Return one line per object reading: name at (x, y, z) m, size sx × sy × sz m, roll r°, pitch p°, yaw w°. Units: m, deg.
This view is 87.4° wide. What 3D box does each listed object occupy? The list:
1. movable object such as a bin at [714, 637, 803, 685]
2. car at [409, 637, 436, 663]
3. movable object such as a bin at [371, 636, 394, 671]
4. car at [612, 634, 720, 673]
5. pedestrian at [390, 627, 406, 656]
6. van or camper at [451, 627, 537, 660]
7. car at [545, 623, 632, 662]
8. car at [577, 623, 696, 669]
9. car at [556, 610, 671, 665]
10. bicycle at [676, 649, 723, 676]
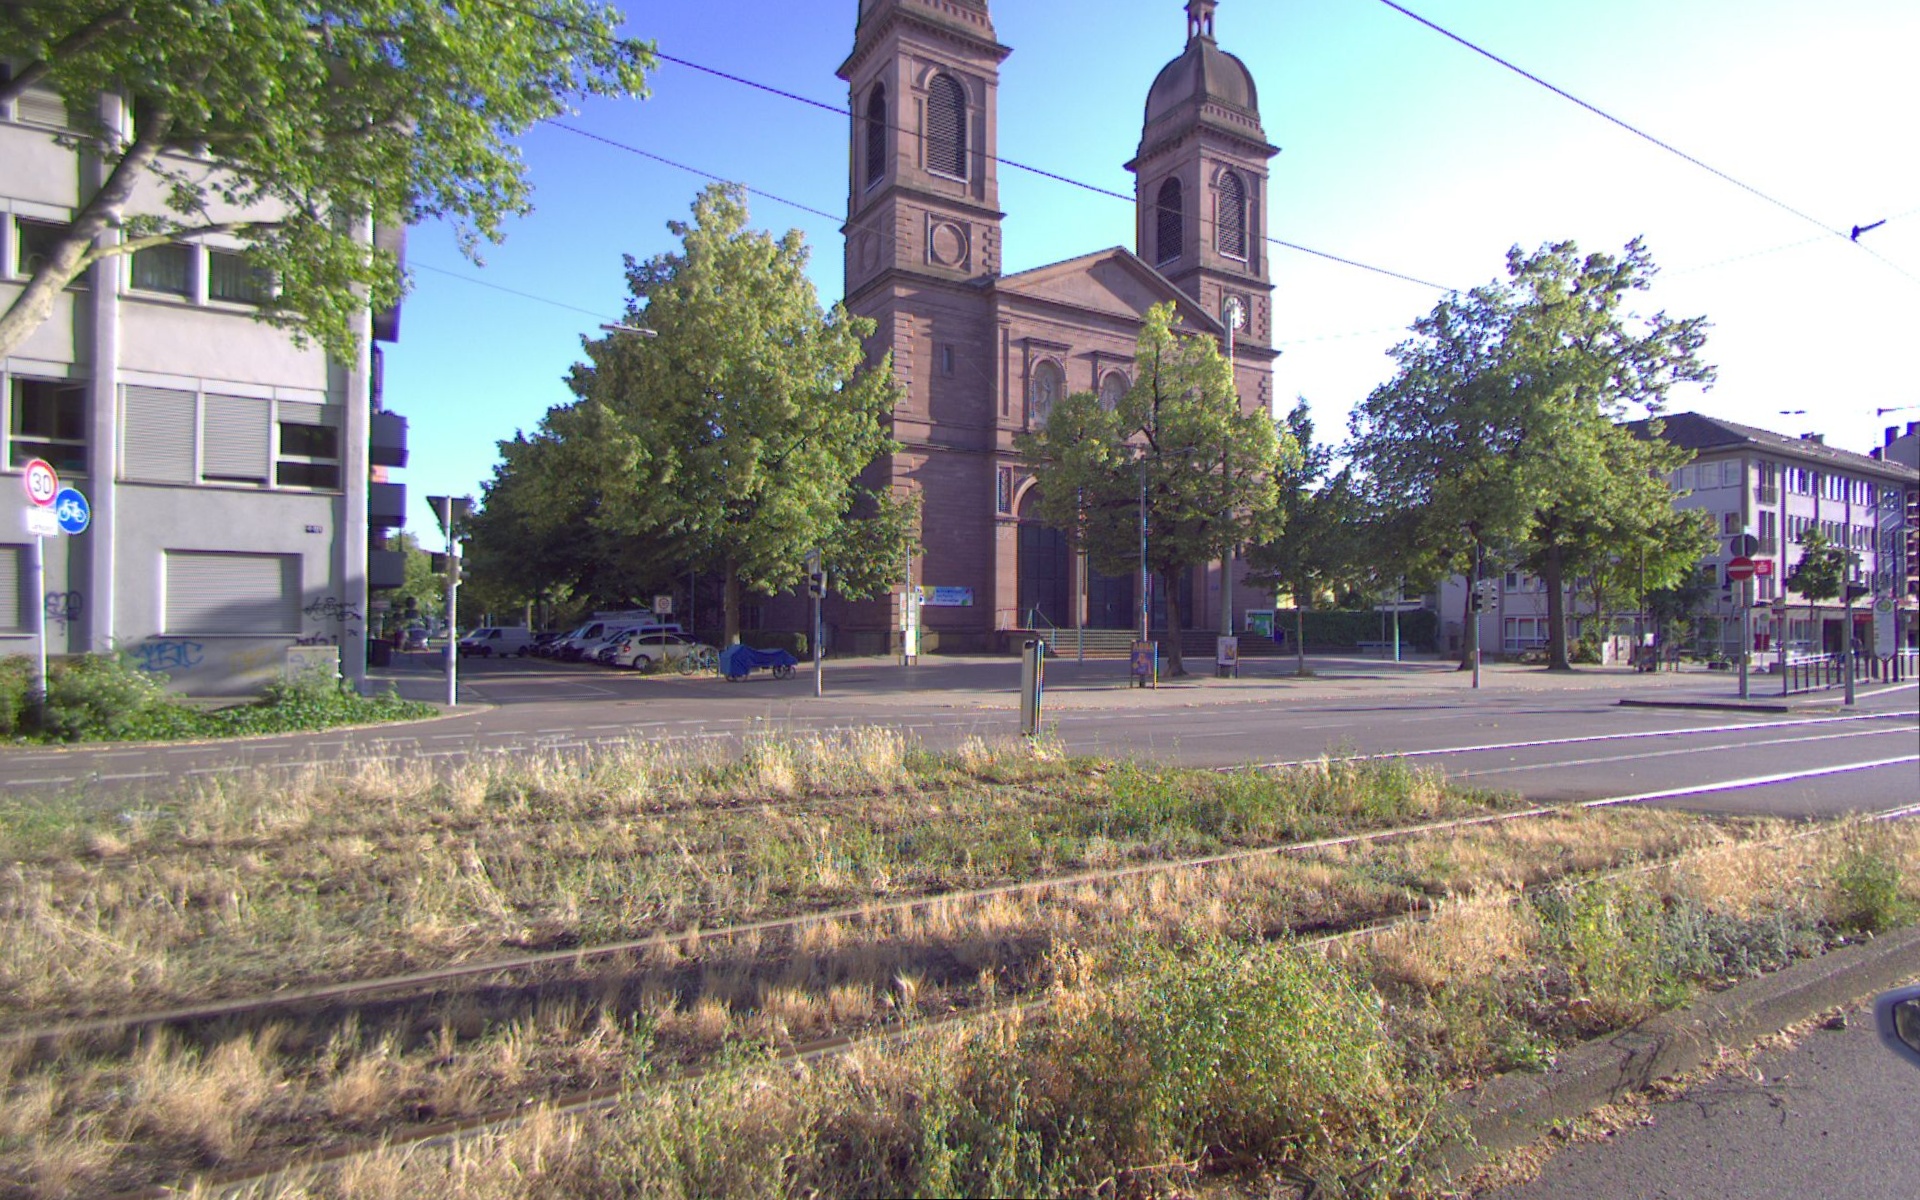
movable object such as a bin at (-6.160, 1.850, 30.716) m, size 2.416 × 1.228 × 1.102 m, roll -3°, pitch 2°, yaw -30°
car at (-45.778, 4.228, 85.473) m, size 1.976 × 2.040 × 3.970 m, roll 1°, pitch -2°, yaw -29°
movable object such as a bin at (-22.309, 2.046, 38.810) m, size 0.737 × 1.323 × 0.865 m, roll 1°, pitch -2°, yaw -32°
car at (-12.233, 2.198, 41.826) m, size 3.953 × 1.479 × 1.984 m, roll 2°, pitch 0°, yaw -30°
pedestrian at (-33.900, 2.506, 60.599) m, size 0.683 × 1.774 × 0.635 m, roll 2°, pitch -2°, yaw -40°
van or camper at (-30.067, 2.783, 65.065) m, size 1.961 × 2.040 × 5.135 m, roll 0°, pitch -2°, yaw 21°
car at (-20.431, 2.327, 55.271) m, size 4.174 × 2.040 × 1.981 m, roll 2°, pitch 0°, yaw -34°
car at (-15.529, 2.199, 48.320) m, size 5.121 × 2.040 × 1.981 m, roll 2°, pitch 0°, yaw -34°
car at (-18.302, 1.984, 53.114) m, size 5.382 × 2.710 × 1.980 m, roll 2°, pitch 0°, yaw -36°
bicycle at (-9.068, 2.182, 34.967) m, size 1.517 × 0.904 × 0.465 m, roll 2°, pitch 0°, yaw -27°
